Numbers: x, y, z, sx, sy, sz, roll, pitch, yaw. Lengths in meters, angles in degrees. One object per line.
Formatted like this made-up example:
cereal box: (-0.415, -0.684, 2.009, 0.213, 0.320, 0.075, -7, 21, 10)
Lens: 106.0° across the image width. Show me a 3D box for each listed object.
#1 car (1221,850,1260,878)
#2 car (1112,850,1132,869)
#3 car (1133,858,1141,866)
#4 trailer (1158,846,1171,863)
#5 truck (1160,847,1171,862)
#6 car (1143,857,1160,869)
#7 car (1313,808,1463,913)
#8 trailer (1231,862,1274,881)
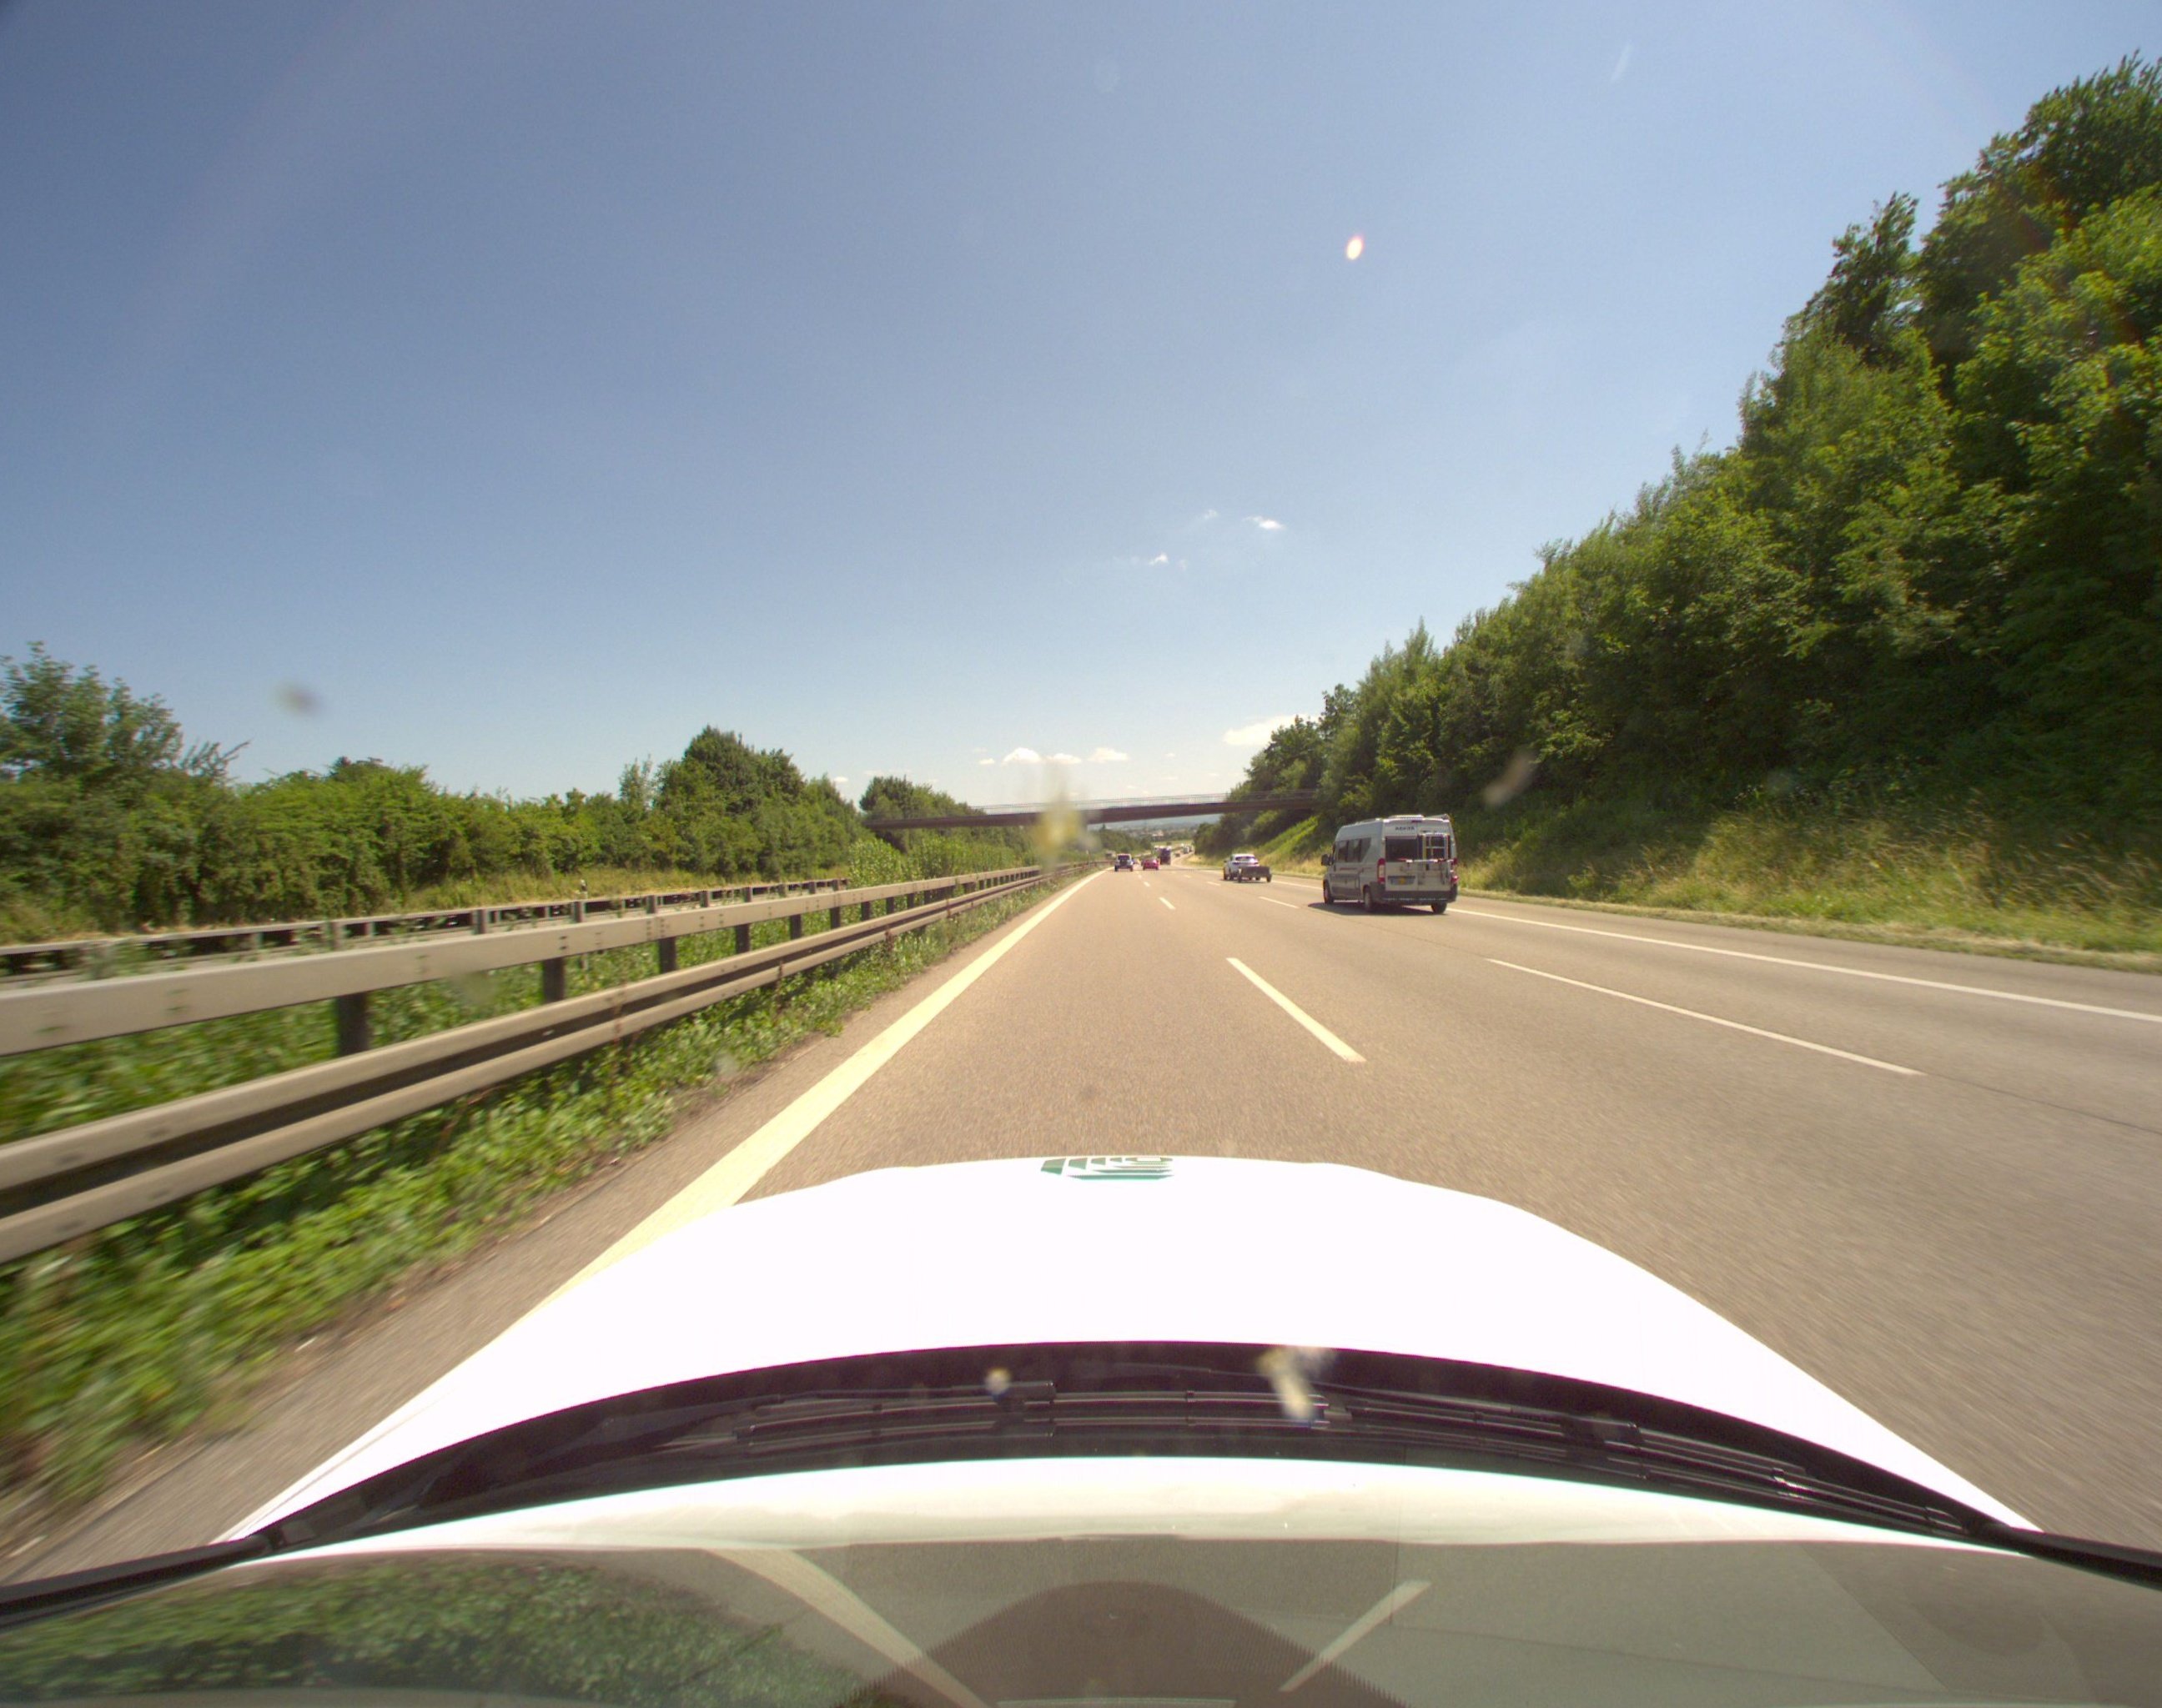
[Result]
car: (10.041, 0.587, 51.533, 1.774, 1.650, 4.406, -1, 1, 2)
car: (4.415, 0.570, 87.489, 2.075, 1.829, 4.757, -1, 1, 3)
car: (14.735, 2.122, 214.476, 1.686, 2.013, 3.836, 0, 1, 13)
trailer: (20.532, 0.049, 199.265, 2.840, 3.993, 15.426, -1, 1, 7)
truck: (21.402, 0.070, 207.046, 2.740, 3.852, 6.656, -1, 1, 6)
car: (8.338, 1.047, 96.412, 1.680, 1.378, 3.950, -1, 1, 1)
car: (8.580, 0.115, 23.577, 2.081, 2.576, 6.626, -1, 1, 2)
trailer: (9.864, 1.000, 47.164, 1.747, 0.908, 4.322, -1, 1, 2)
